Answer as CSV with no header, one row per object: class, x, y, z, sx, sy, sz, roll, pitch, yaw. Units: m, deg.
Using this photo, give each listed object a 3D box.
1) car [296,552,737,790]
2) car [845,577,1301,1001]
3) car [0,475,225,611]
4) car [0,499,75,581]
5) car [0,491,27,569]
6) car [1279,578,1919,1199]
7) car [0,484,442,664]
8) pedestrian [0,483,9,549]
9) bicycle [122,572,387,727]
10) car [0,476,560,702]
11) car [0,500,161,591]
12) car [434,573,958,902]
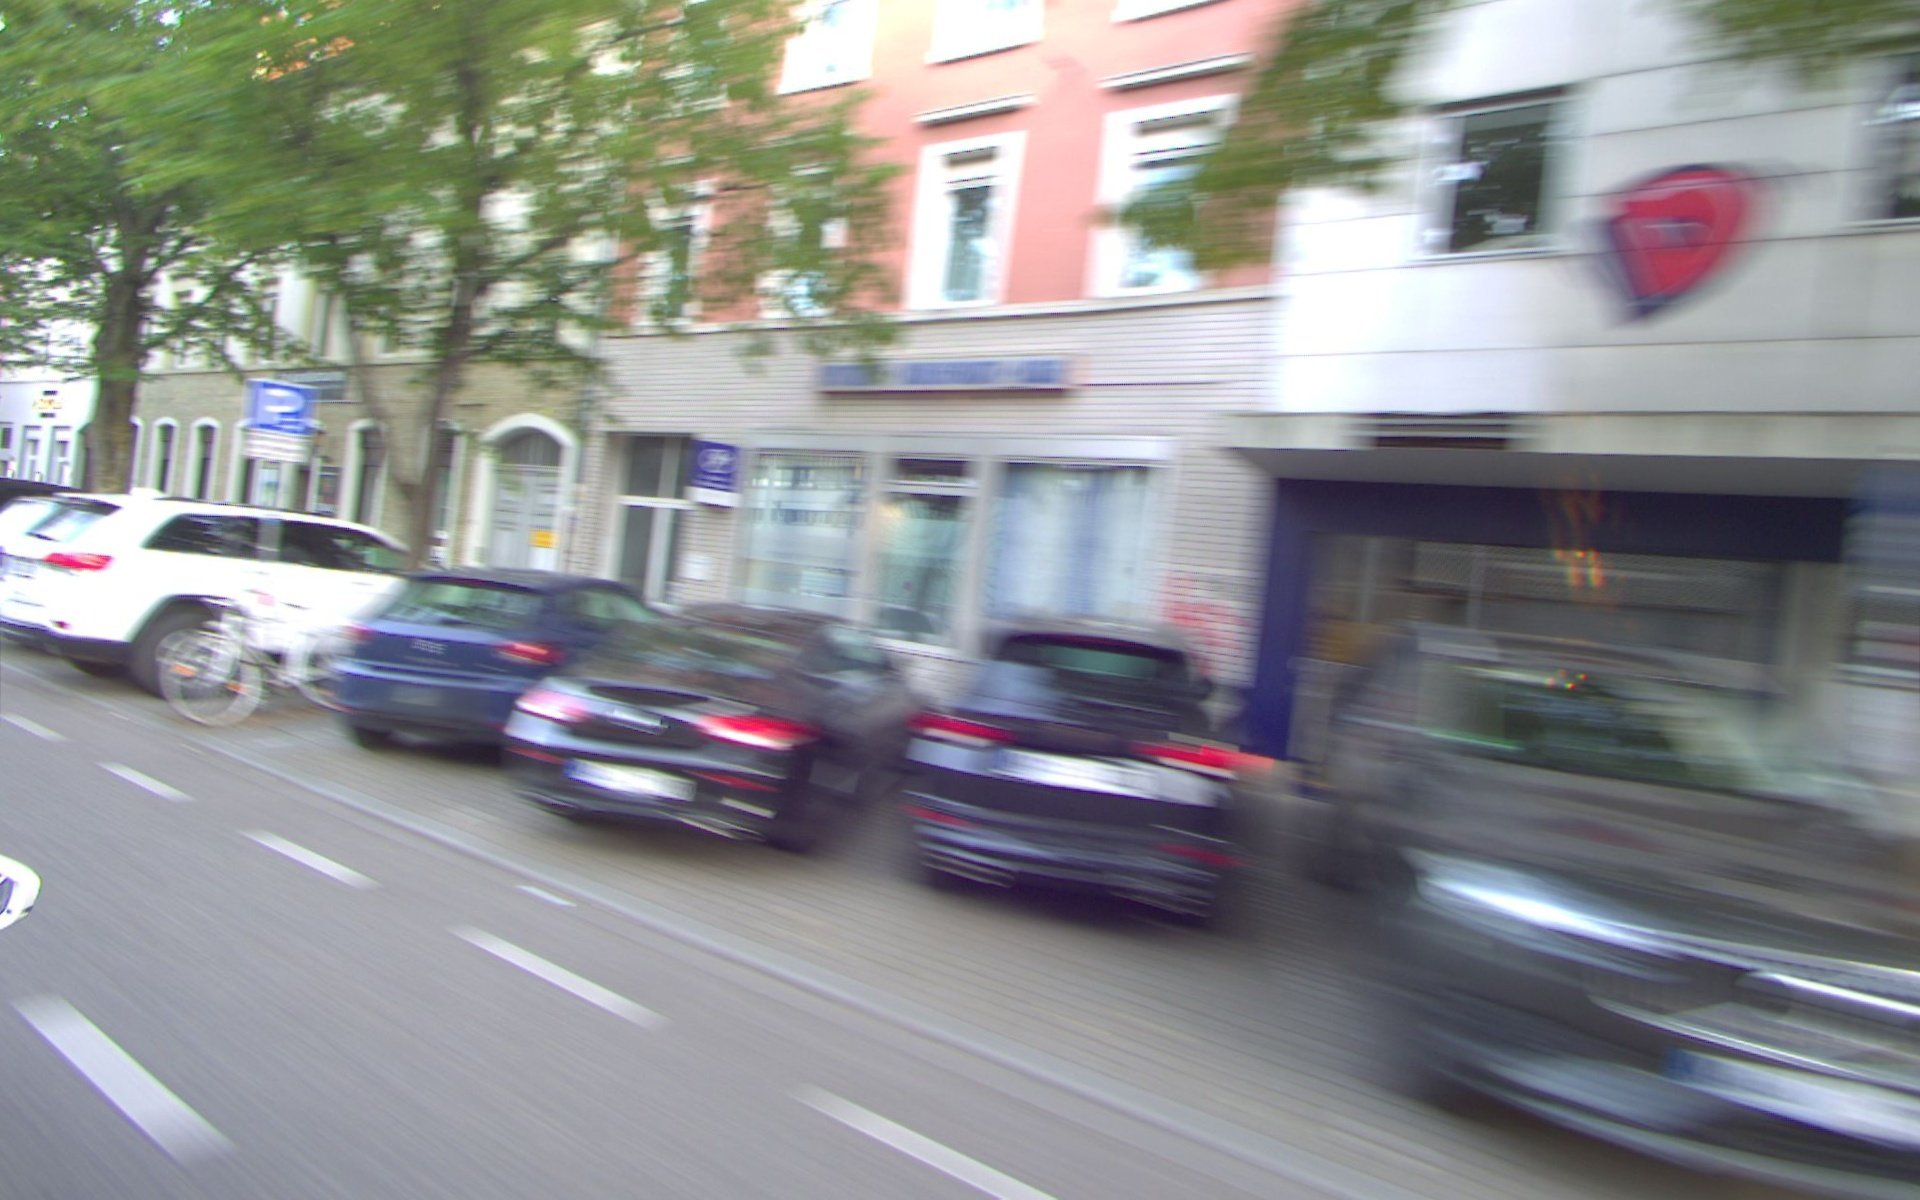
car,-3.492,0.471,8.772,1.694,1.445,3.758,6,1,8
car,0.972,0.843,6.674,1.938,1.670,4.224,7,1,14
car,-13.803,-0.866,15.228,1.970,1.829,4.161,6,0,4
car,-18.434,-1.206,17.908,1.673,1.425,3.785,6,0,7
car,-20.578,-1.547,19.089,1.673,1.572,3.975,6,0,7
car,2.938,1.002,4.879,2.166,1.850,4.978,7,1,14
car,-9.062,-0.255,12.112,1.972,1.709,4.656,7,1,27
pedestrian,-26.116,-2.294,26.775,0.701,1.783,0.705,7,-1,5
bicycle,-5.840,0.380,8.470,0.488,1.117,1.840,7,2,18
car,-6.760,-0.059,10.236,1.974,1.709,4.652,7,1,31
car,-16.210,-0.968,16.866,1.772,1.407,4.323,6,1,7
car,-1.418,0.688,7.257,1.938,1.445,4.225,6,1,10
